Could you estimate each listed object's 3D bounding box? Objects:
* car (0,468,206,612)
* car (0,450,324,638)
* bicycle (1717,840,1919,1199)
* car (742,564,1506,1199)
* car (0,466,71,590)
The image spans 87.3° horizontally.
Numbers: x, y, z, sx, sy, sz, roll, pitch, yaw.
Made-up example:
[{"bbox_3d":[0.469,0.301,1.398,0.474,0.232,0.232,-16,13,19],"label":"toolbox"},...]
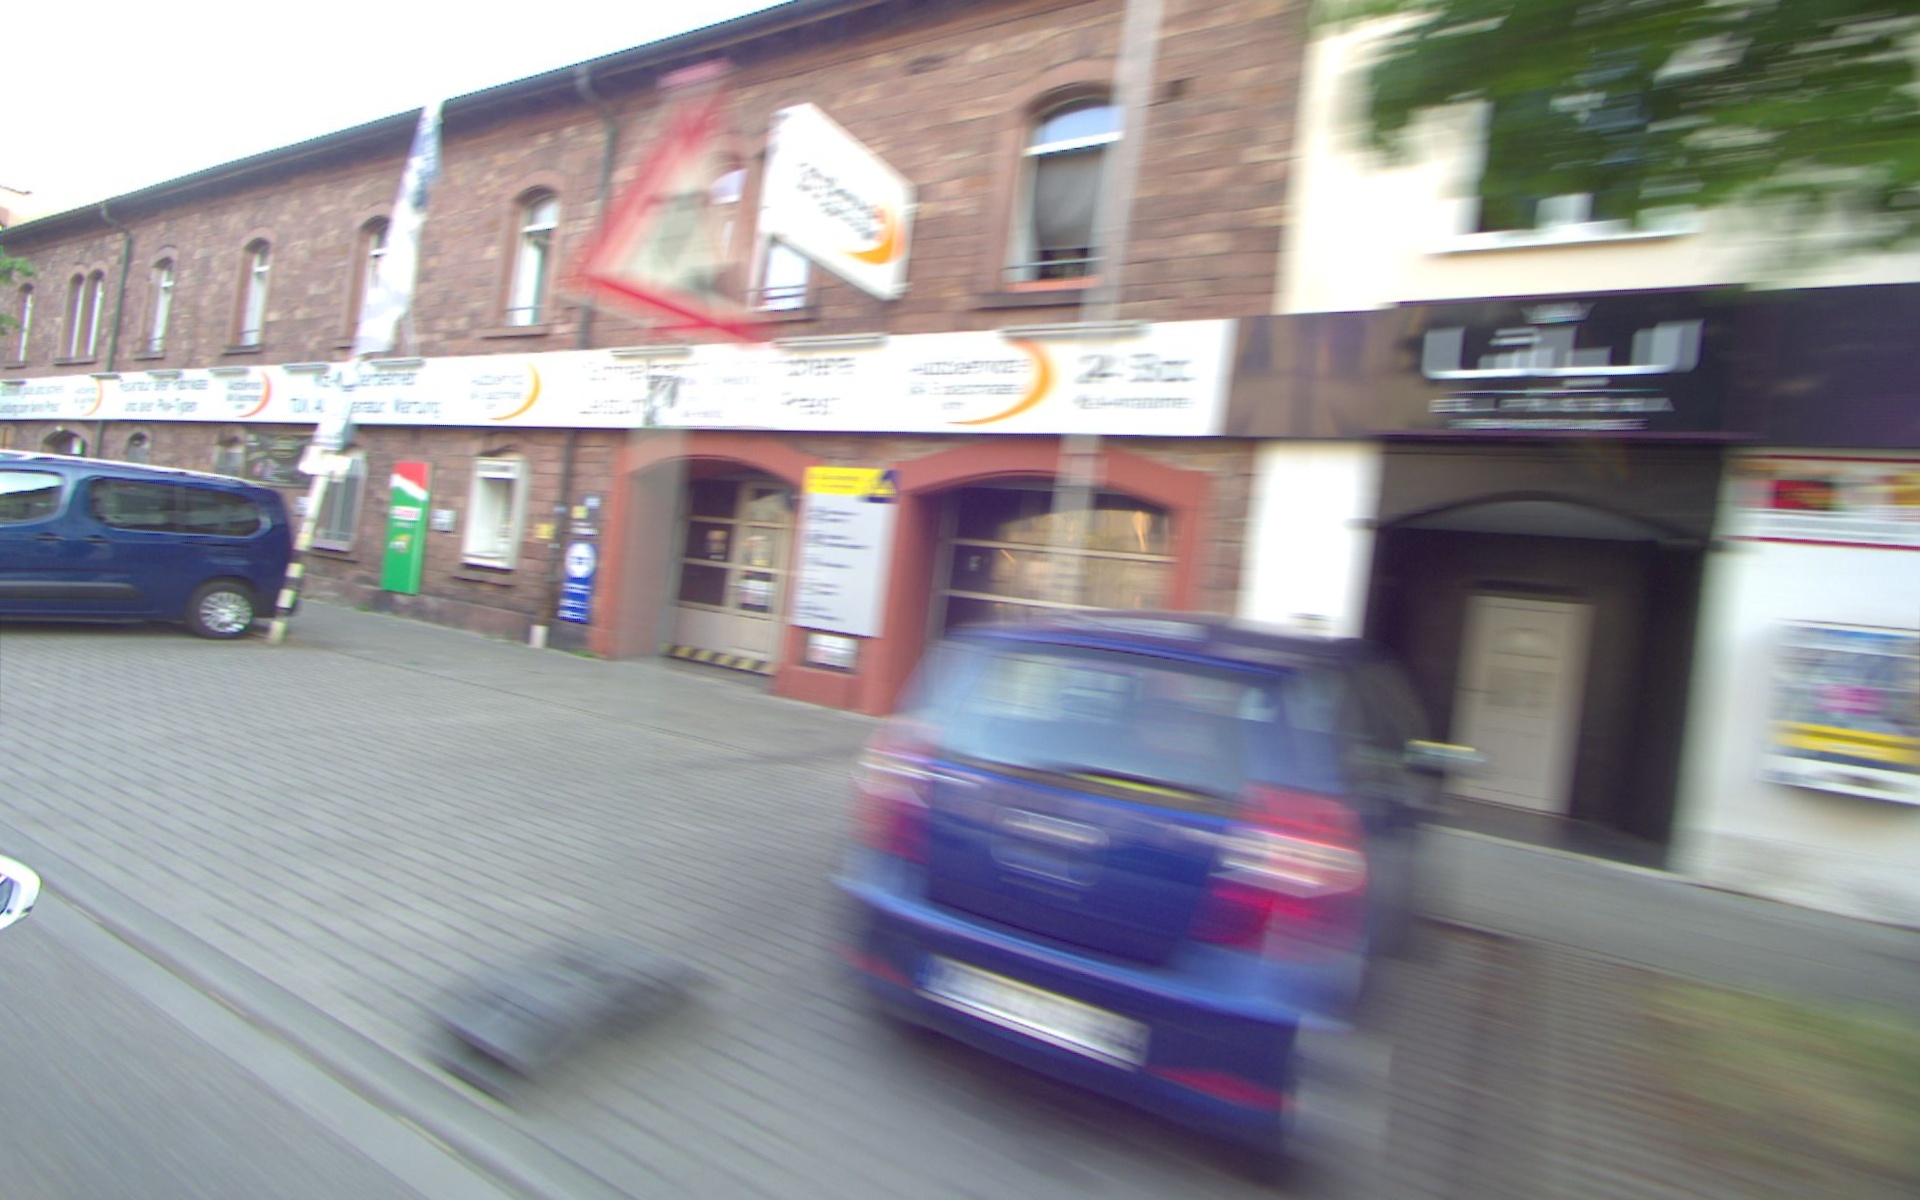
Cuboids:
[{"bbox_3d":[-11.952,-0.811,11.883,1.947,1.596,4.418,8,2,29],"label":"car"},{"bbox_3d":[-9.690,-0.626,10.433,1.983,1.777,4.790,8,2,29],"label":"car"},{"bbox_3d":[2.236,1.164,1.490,1.733,1.206,0.309,7,-1,30],"label":"bicycle"},{"bbox_3d":[1.170,0.812,4.365,1.814,1.566,3.988,7,2,31],"label":"car"},{"bbox_3d":[-14.362,-1.130,12.905,1.862,1.639,3.991,7,1,29],"label":"car"}]
